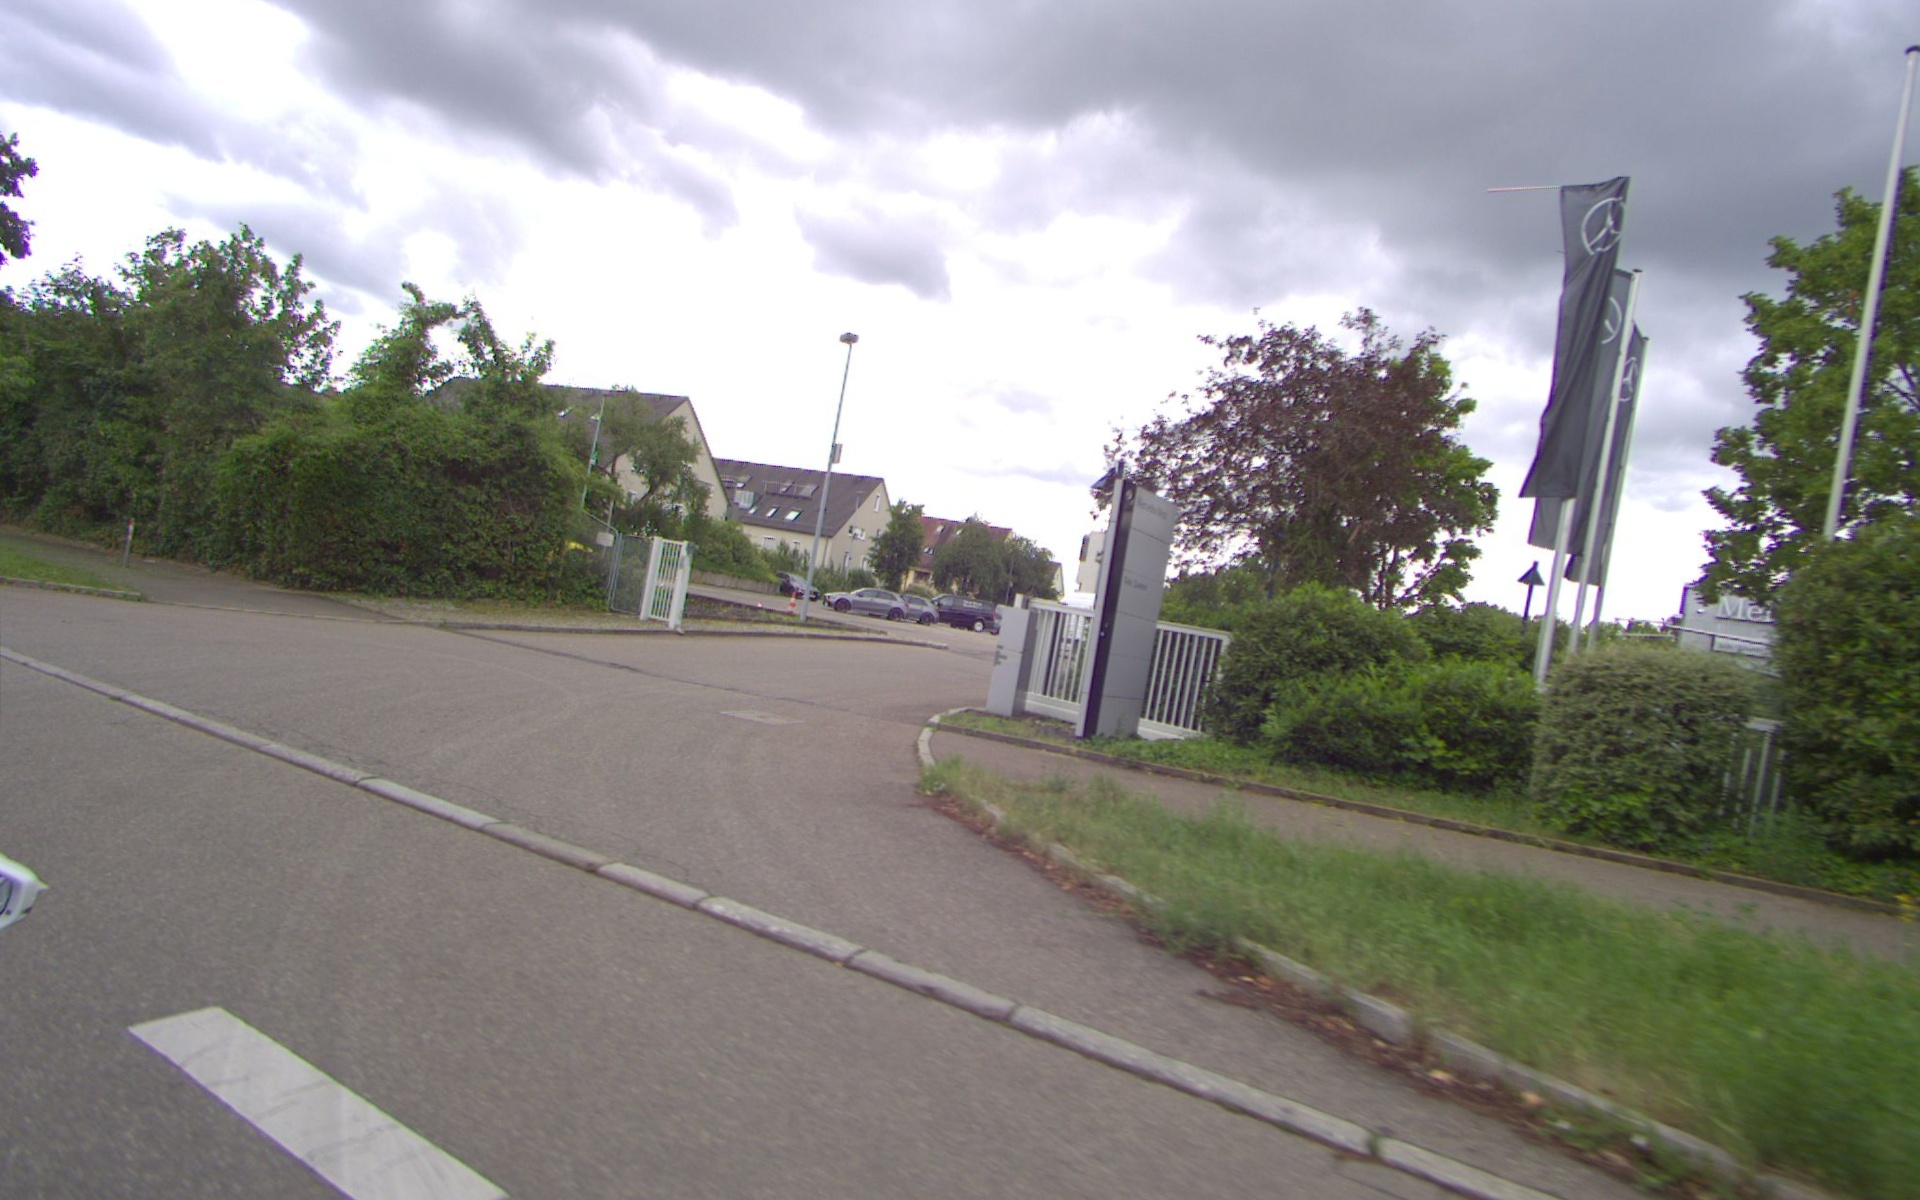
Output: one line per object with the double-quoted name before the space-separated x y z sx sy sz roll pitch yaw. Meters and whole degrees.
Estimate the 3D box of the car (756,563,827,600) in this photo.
"car" -10.539 -1.162 62.846 4.022 1.770 1.796 7 -3 34

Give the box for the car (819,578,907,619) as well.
"car" -4.859 -0.053 50.146 3.979 1.384 1.995 9 -2 -15

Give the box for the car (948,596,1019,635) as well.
"car" 1.414 0.967 62.487 3.986 1.770 1.933 9 -2 -6

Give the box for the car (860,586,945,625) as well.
"car" -3.072 0.309 53.287 4.097 1.384 1.900 9 -2 -15

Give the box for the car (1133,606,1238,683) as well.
"car" 9.903 1.898 44.757 2.226 2.709 5.436 9 0 -11

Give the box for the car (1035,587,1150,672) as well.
"car" 5.179 1.096 40.314 2.230 2.709 5.428 9 0 -16

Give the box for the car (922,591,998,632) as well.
"car" -0.017 0.673 59.417 3.995 1.770 1.928 9 -2 -15
